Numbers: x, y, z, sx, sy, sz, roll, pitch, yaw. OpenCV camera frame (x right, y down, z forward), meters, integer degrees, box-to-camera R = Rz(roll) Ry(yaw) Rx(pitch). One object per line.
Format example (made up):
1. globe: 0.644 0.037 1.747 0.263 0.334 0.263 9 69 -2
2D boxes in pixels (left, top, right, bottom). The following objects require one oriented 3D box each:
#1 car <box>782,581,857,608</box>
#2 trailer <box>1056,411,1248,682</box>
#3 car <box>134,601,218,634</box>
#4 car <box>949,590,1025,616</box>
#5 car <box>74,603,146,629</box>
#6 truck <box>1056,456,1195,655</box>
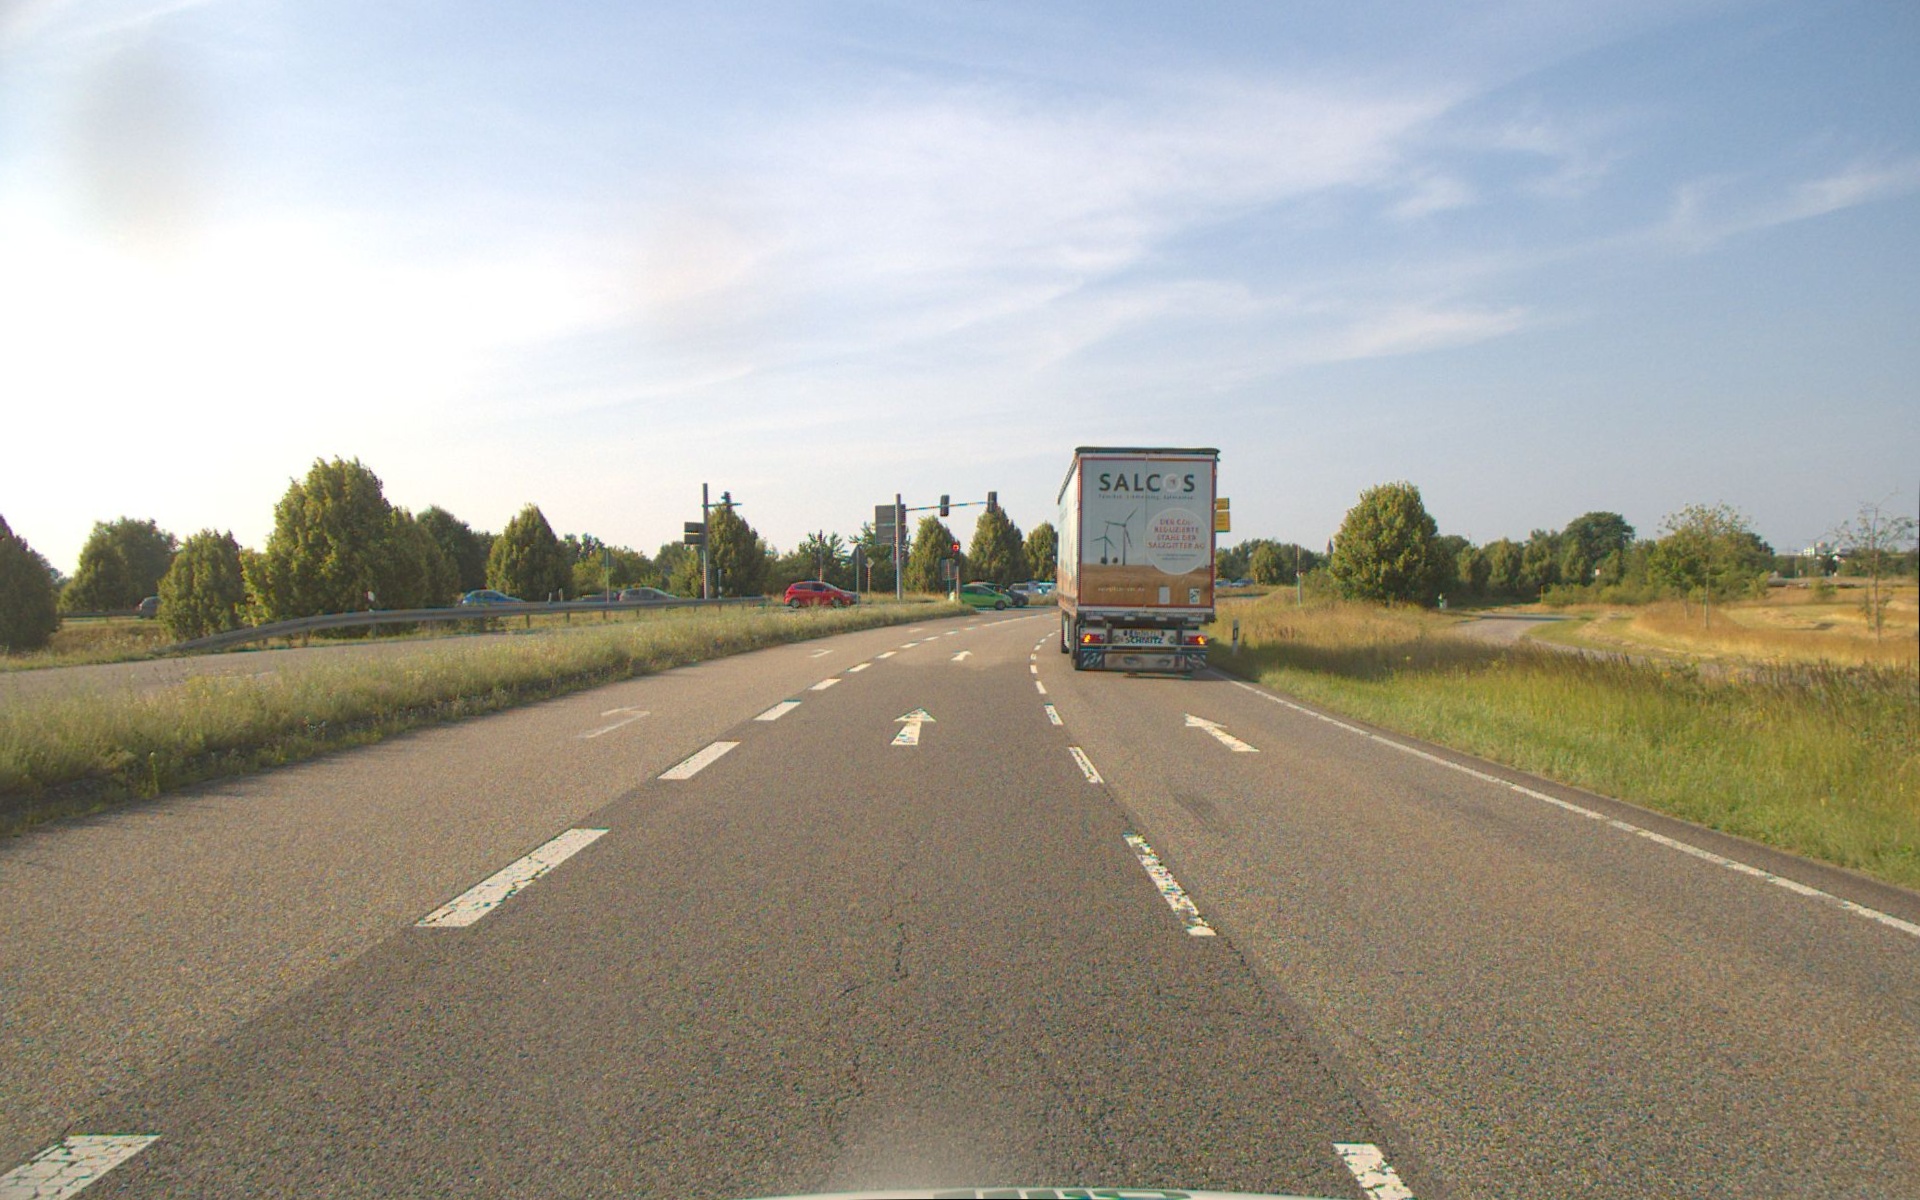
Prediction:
1. car: -8.490 -0.321 100.219 4.173 1.592 1.903 1 -1 9
2. trailer: 3.778 -1.024 35.853 3.213 4.762 13.153 1 1 3
3. car: -49.515 1.109 104.545 4.374 2.049 1.996 1 -1 -8
4. car: 1.611 0.173 98.876 4.336 1.442 1.918 1 -1 -6
5. car: -58.960 1.112 114.772 3.907 1.696 1.999 1 -1 -3
6. truck: 4.126 -1.080 42.440 3.231 4.739 5.734 1 0 3
